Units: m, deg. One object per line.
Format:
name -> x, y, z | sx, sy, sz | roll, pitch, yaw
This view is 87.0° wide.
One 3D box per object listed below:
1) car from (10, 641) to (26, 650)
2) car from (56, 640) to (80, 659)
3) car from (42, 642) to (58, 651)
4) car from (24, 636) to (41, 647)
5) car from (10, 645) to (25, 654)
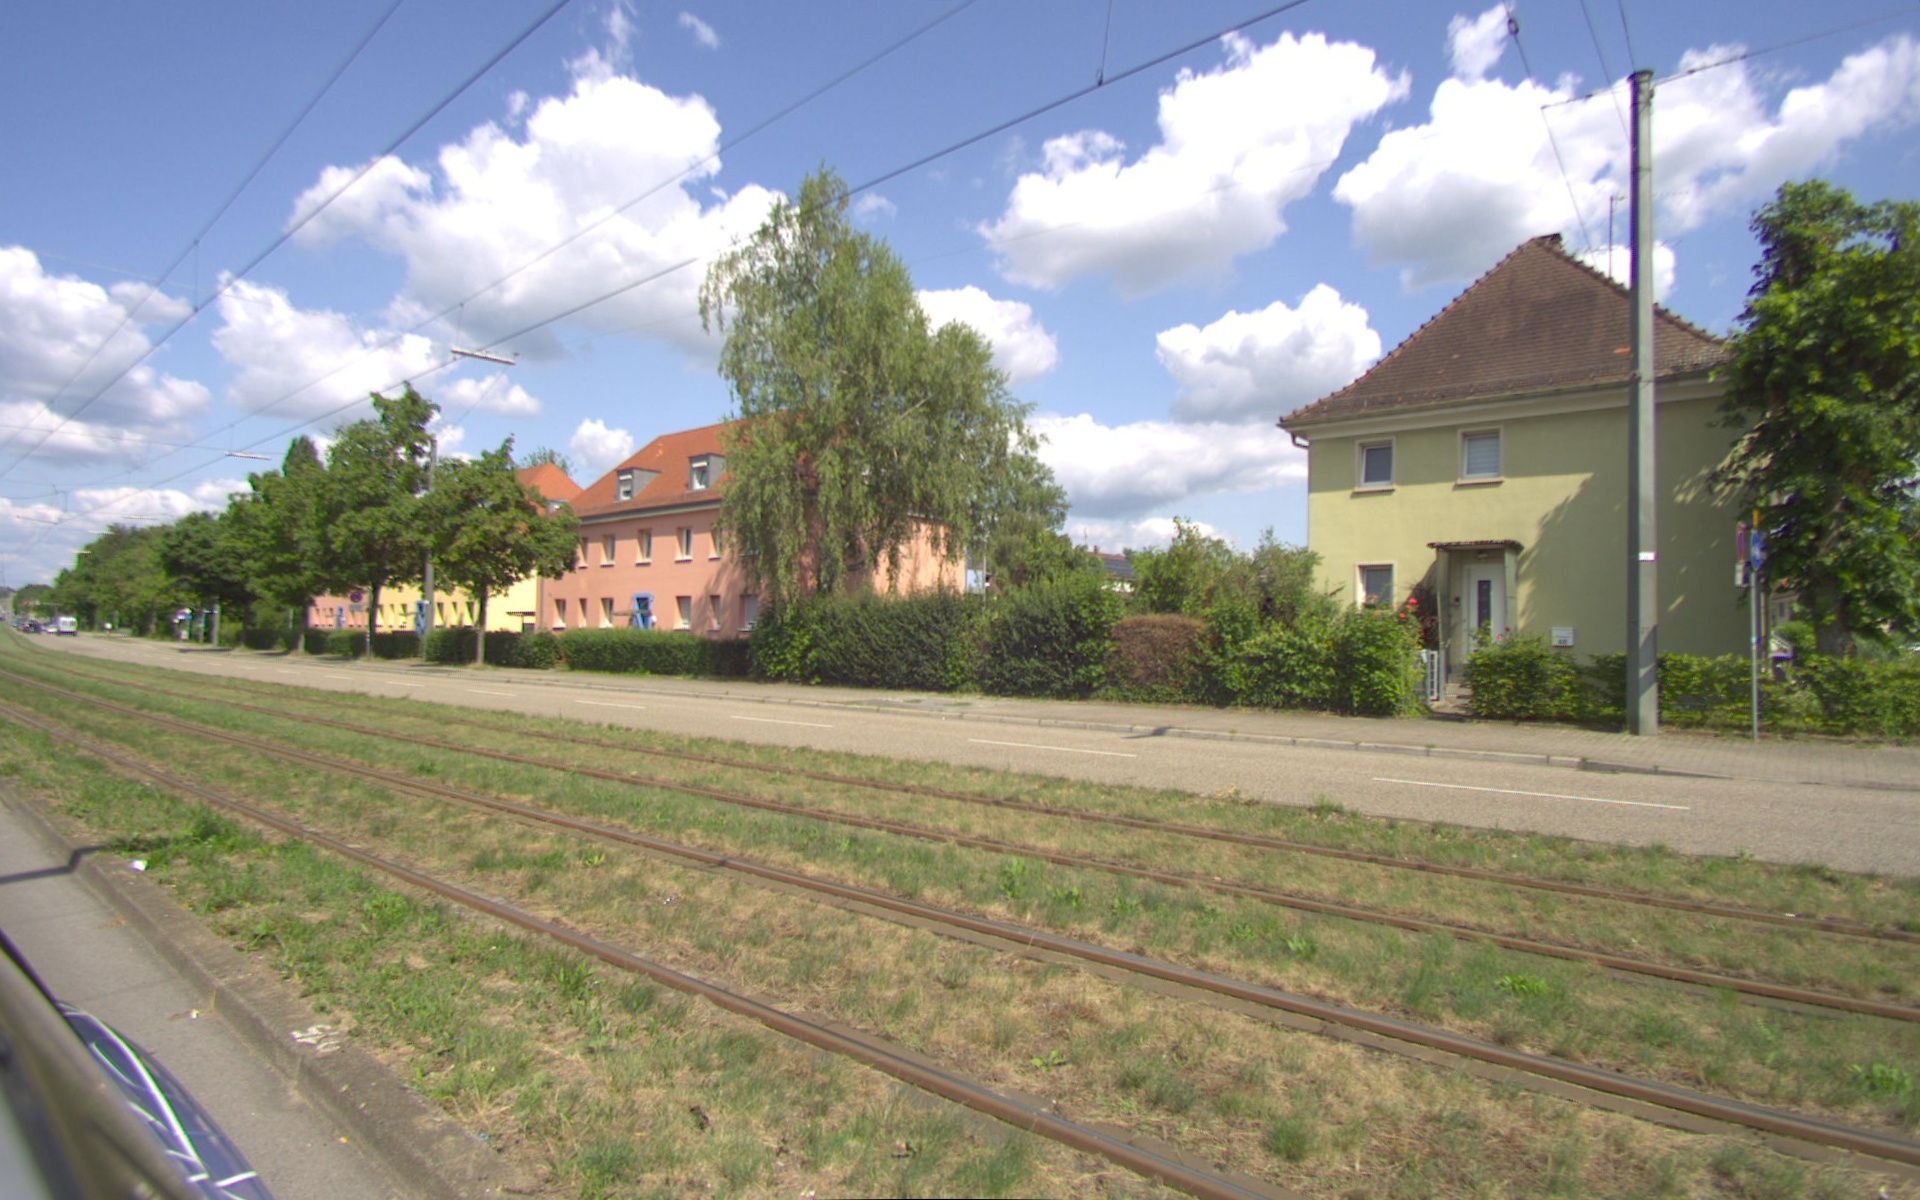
car -> -176.541, 8.487, 189.723 | 2.091, 1.664, 4.280 | 3, -4, -43
car -> -122.841, 6.840, 139.345 | 2.008, 2.455, 5.781 | 5, -6, -44
car -> -147.255, 7.513, 163.808 | 1.666, 1.442, 4.279 | 3, -4, -45
car -> -142.486, 6.379, 155.466 | 1.666, 1.760, 4.230 | 3, -4, -45
car -> -156.605, 8.179, 168.129 | 1.707, 1.405, 4.280 | 3, -4, -43
